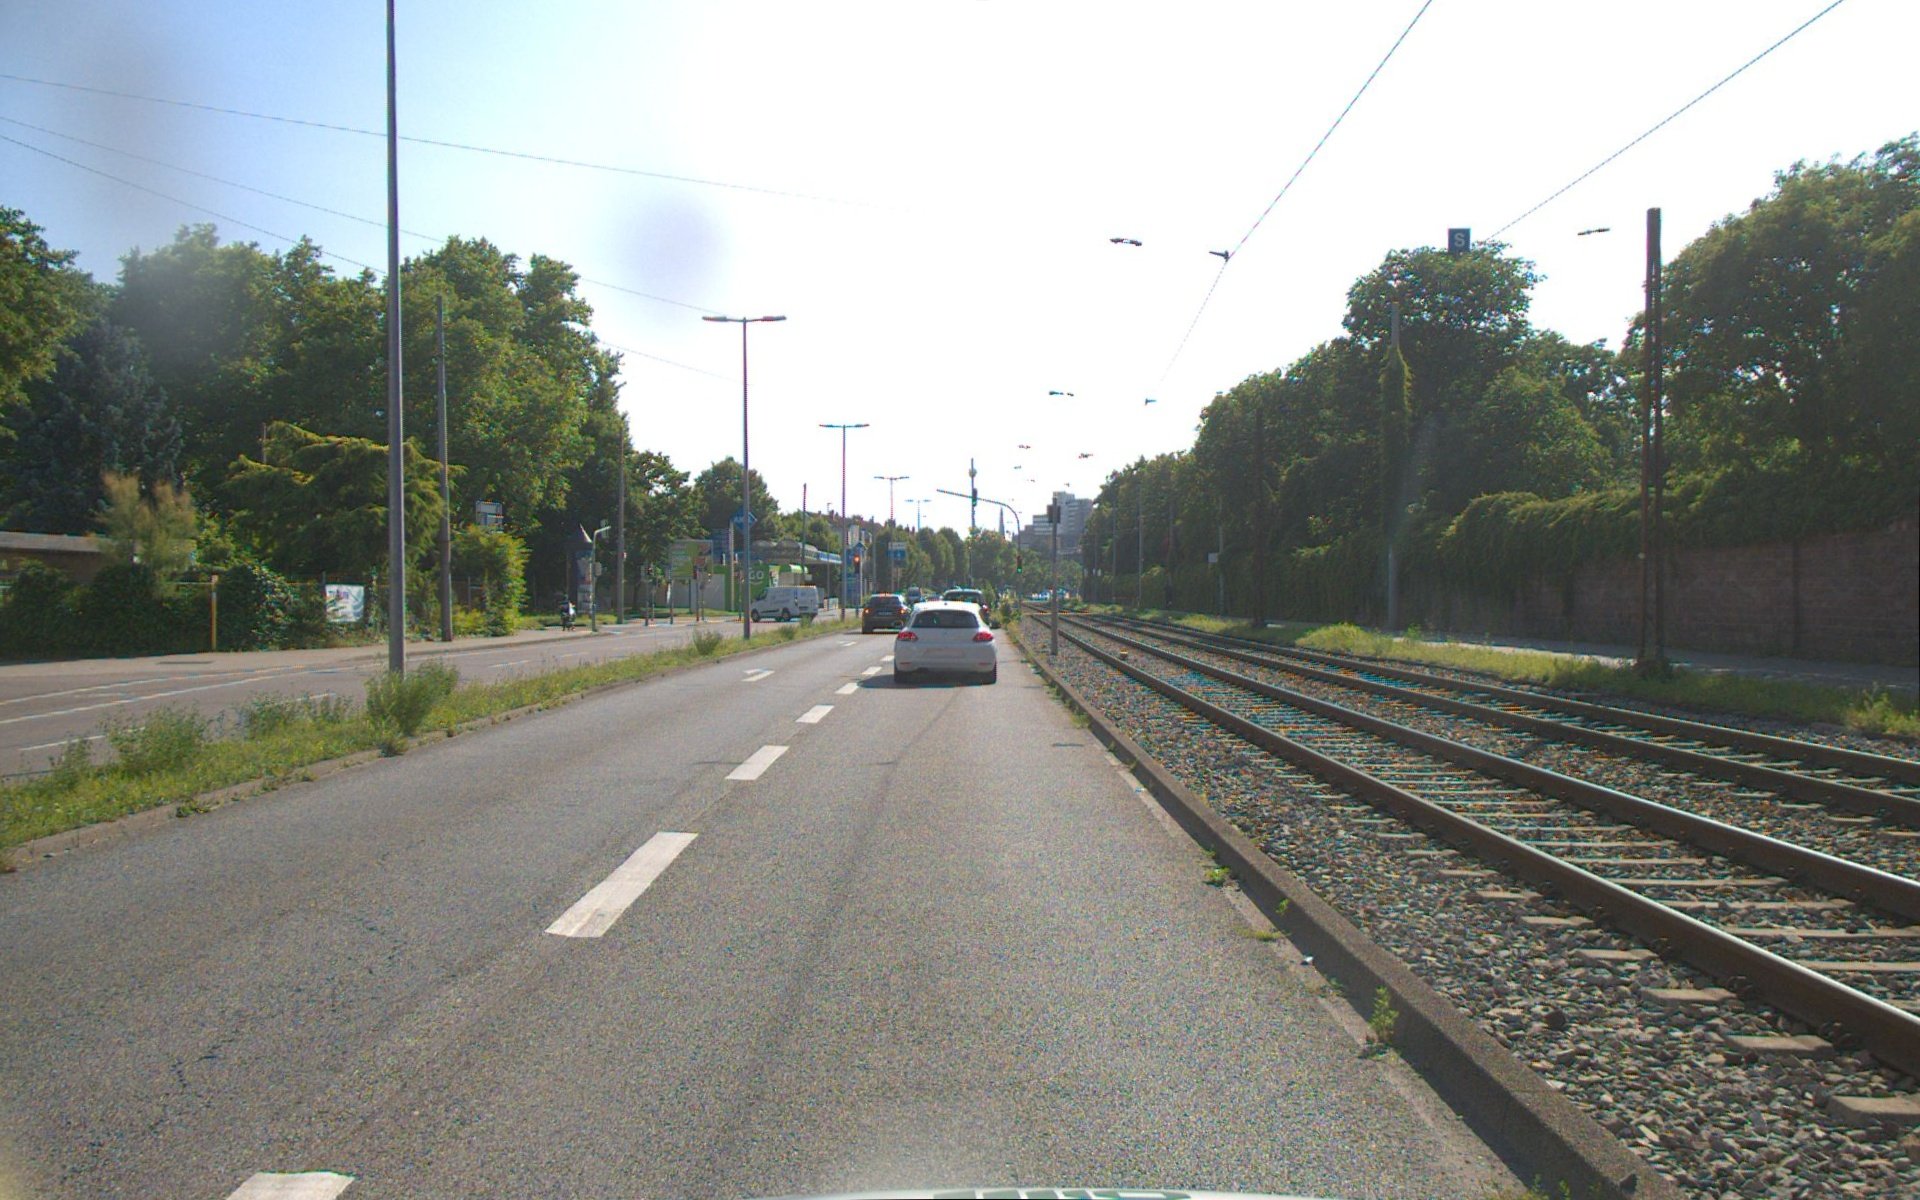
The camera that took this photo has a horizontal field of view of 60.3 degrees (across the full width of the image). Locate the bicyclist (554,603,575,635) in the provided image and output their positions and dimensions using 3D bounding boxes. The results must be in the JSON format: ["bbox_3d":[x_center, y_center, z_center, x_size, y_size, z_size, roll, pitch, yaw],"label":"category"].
[{"bbox_3d":[-18.415,0.883,76.995,0.648,1.478,1.051,-1,0,4],"label":"bicyclist"}]

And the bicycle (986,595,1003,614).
[{"bbox_3d":[2.231,0.291,106.996,0.629,1.174,1.938,-1,0,16],"label":"bicycle"}]

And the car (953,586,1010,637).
[{"bbox_3d":[0.686,0.373,55.225,1.690,1.620,3.599,1,0,-3],"label":"car"}]

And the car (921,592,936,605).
[{"bbox_3d":[-3.683,-0.167,193.893,1.619,1.420,4.134,-1,0,1],"label":"car"}]

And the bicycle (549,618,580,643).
[{"bbox_3d":[-18.408,1.410,77.049,0.648,1.068,2.582,-1,0,4],"label":"bicycle"}]

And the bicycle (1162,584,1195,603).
[{"bbox_3d":[14.000,-0.414,105.855,1.883,1.134,0.947,-1,0,26],"label":"bicycle"}]

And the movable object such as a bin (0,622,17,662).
[{"bbox_3d":[-23.410,1.008,39.913,0.799,0.947,0.853,-1,0,0],"label":"movable object such as a bin"}]

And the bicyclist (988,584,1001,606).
[{"bbox_3d":[2.218,-0.311,106.965,0.629,1.440,1.013,-1,0,16],"label":"bicyclist"}]

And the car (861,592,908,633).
[{"bbox_3d":[-2.912,0.451,64.067,1.725,1.511,4.643,1,0,-3],"label":"car"}]

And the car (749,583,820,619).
[{"bbox_3d":[-10.225,0.070,96.229,1.810,1.997,4.331,0,0,-44],"label":"car"}]

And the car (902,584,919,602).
[{"bbox_3d":[-7.050,-1.014,236.945,1.951,2.418,4.541,-1,0,5],"label":"car"}]

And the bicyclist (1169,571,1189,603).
[{"bbox_3d":[13.998,-0.827,105.848,1.012,2.028,0.947,-1,0,25],"label":"bicyclist"}]

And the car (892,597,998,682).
[{"bbox_3d":[-0.243,0.656,29.449,1.744,1.380,3.601,1,0,0],"label":"car"}]
